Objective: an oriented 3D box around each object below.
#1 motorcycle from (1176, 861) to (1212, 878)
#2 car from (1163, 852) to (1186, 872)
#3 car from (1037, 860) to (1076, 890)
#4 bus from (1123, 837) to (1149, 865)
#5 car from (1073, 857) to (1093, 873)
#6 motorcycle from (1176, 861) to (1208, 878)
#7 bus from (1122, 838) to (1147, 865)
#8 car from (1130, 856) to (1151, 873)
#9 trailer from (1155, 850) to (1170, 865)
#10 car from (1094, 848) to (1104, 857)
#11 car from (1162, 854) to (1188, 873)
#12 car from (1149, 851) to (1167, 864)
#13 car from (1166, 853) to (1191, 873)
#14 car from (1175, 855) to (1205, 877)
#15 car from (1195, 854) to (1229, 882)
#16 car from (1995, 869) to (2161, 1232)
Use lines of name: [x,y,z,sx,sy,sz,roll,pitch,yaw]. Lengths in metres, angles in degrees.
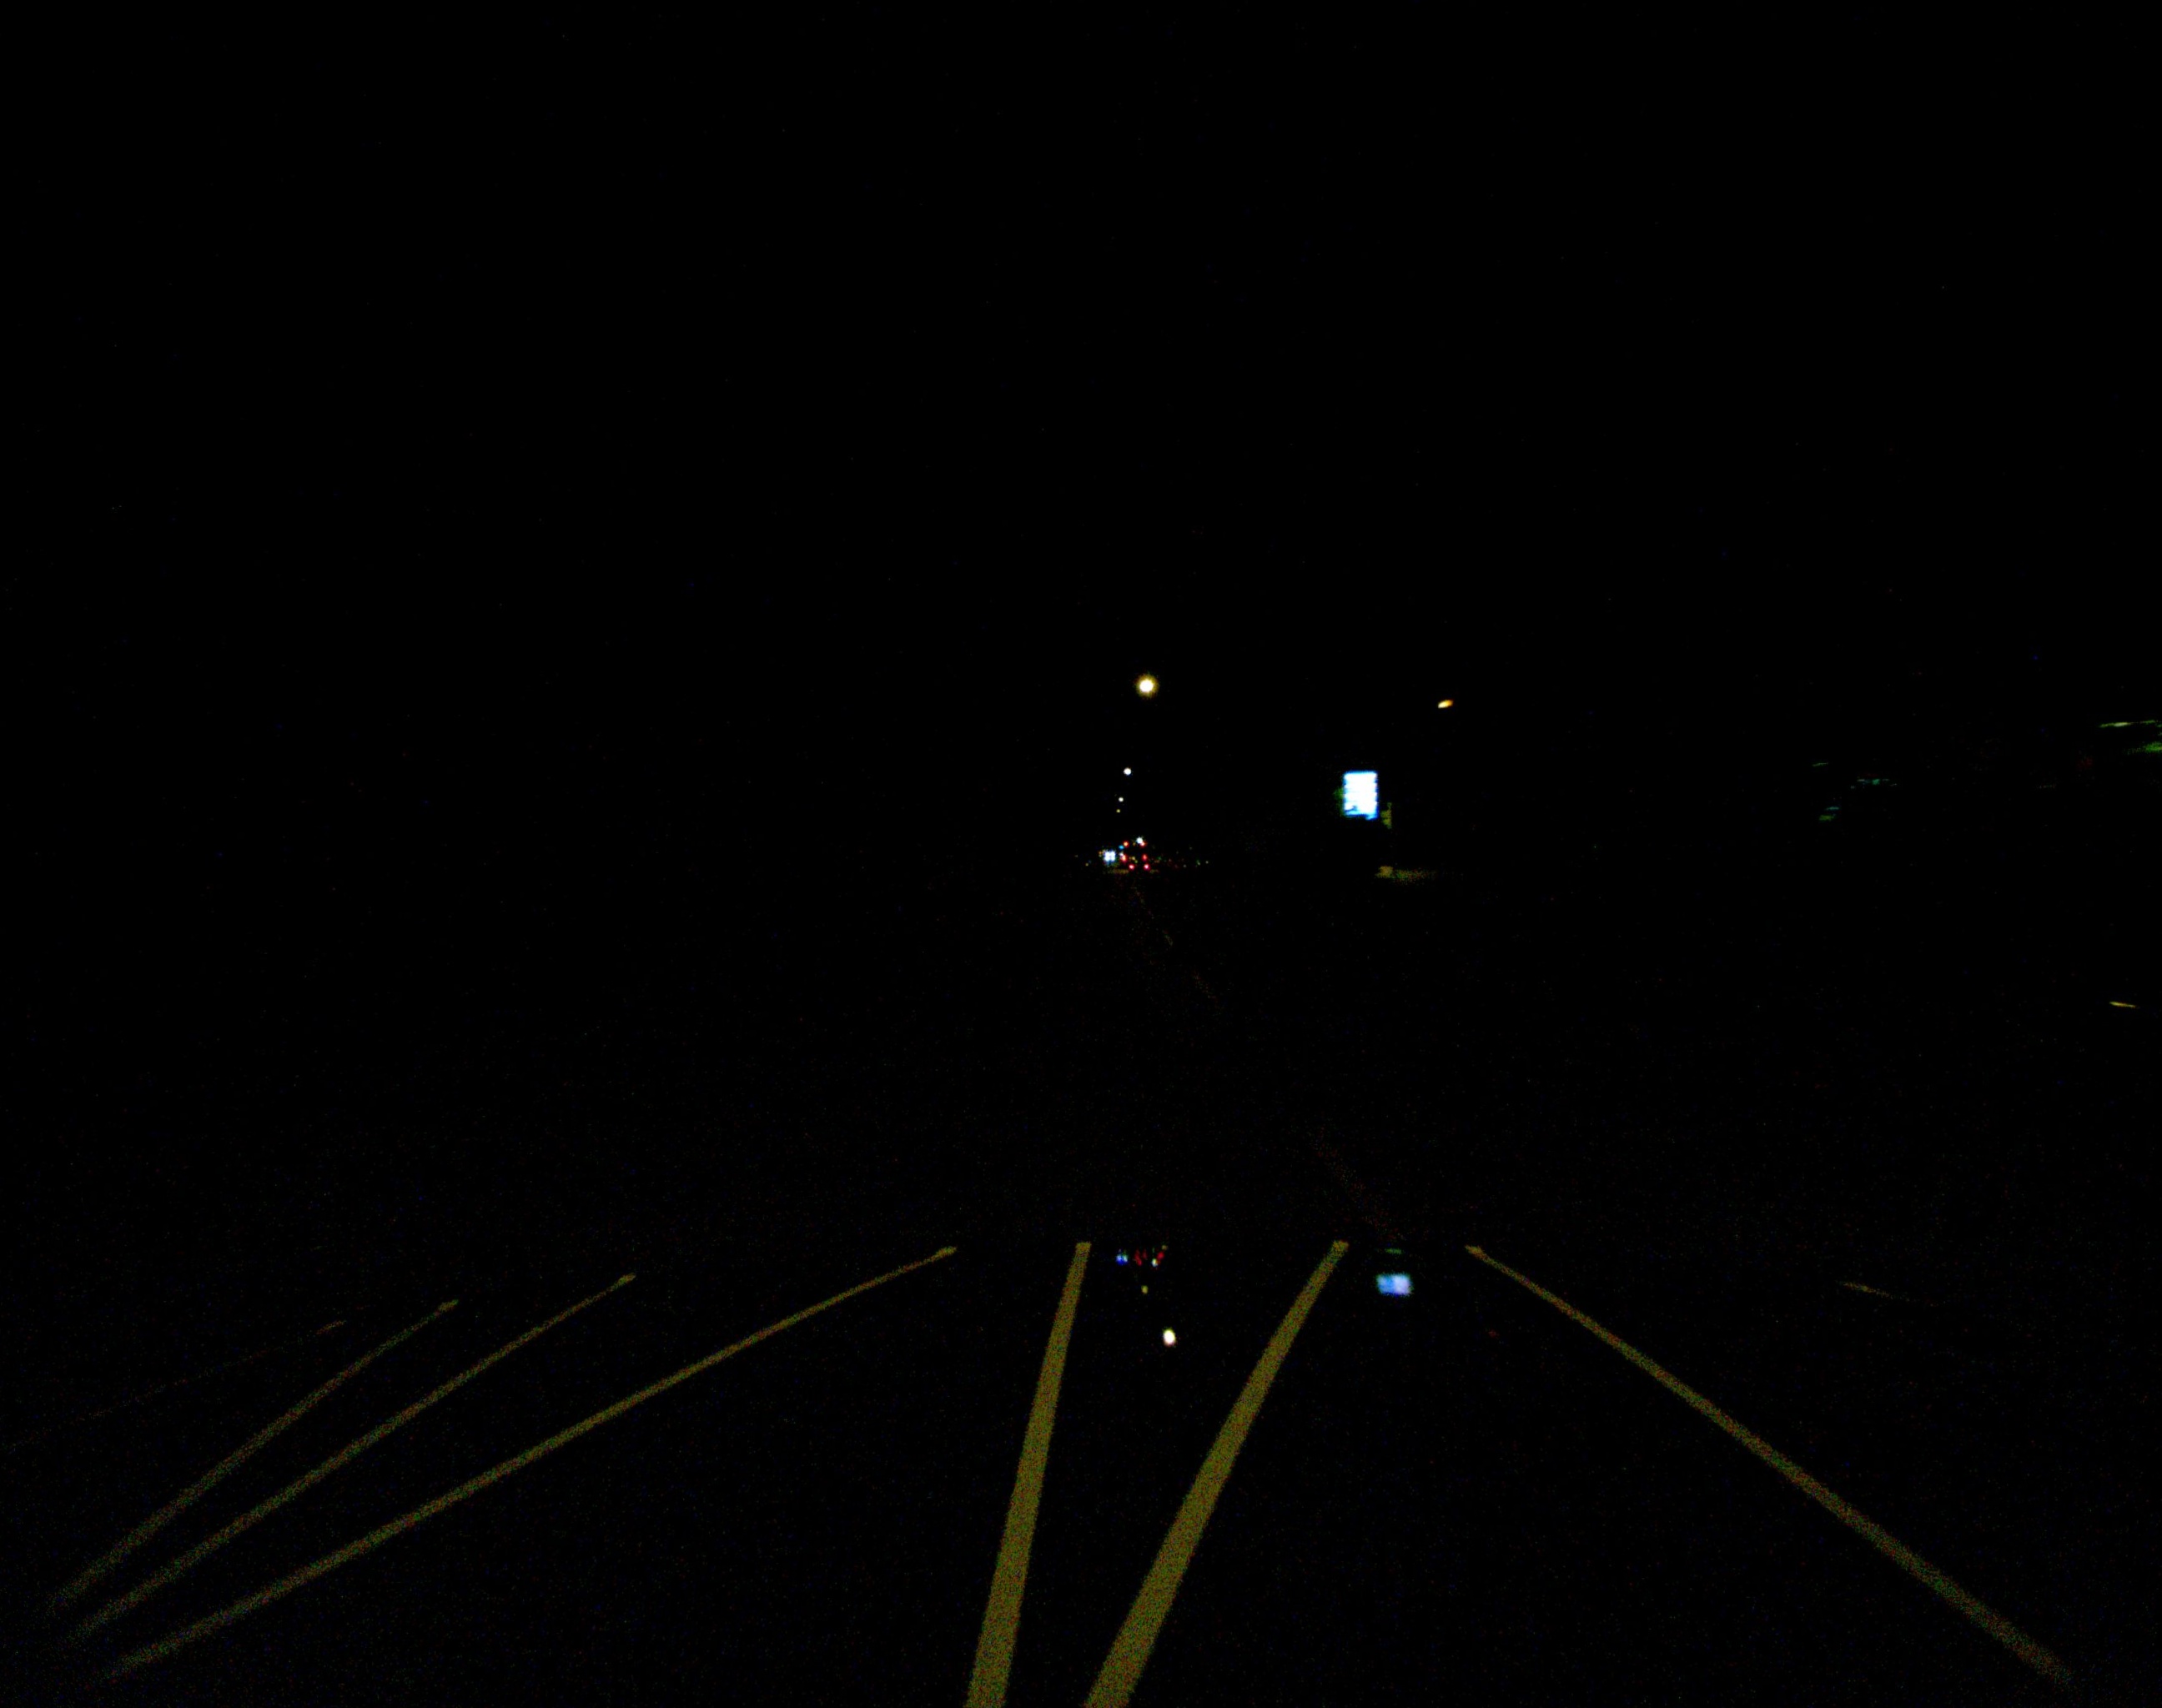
motorcycle: [7.363,1.016,49.472,2.202,1.124,0.717,-1,0,35]
car: [9.325,0.766,75.949,1.998,1.740,4.000,-2,1,4]
car: [-1.283,1.097,40.842,1.767,1.467,4.081,0,0,3]
bus: [6.445,-0.325,89.854,2.844,3.159,7.662,-2,0,3]
car: [0.196,1.015,73.336,1.775,1.439,4.019,-1,1,2]
motorcycle: [7.499,1.027,51.487,0.717,1.140,2.203,-1,0,-40]
bus: [6.898,-0.317,98.957,2.844,3.159,10.500,-2,0,2]
car: [5.135,0.868,65.894,1.649,1.414,3.871,-1,0,1]
trailer: [9.439,0.402,87.681,1.641,1.630,3.440,-2,1,7]
car: [3.970,-0.400,166.713,1.916,1.816,4.900,-1,1,0]
car: [8.351,0.806,67.921,1.868,1.483,4.280,-2,1,1]
car: [9.284,0.418,91.805,1.819,1.476,4.347,-1,1,1]
car: [8.108,0.720,63.240,1.625,1.483,3.780,-2,1,1]
car: [7.892,0.853,55.325,1.708,1.483,4.228,0,0,1]
car: [7.515,0.805,43.868,1.642,1.489,2.765,-1,1,4]
car: [5.175,0.778,1.495,1.725,1.429,4.191,-2,0,1]
